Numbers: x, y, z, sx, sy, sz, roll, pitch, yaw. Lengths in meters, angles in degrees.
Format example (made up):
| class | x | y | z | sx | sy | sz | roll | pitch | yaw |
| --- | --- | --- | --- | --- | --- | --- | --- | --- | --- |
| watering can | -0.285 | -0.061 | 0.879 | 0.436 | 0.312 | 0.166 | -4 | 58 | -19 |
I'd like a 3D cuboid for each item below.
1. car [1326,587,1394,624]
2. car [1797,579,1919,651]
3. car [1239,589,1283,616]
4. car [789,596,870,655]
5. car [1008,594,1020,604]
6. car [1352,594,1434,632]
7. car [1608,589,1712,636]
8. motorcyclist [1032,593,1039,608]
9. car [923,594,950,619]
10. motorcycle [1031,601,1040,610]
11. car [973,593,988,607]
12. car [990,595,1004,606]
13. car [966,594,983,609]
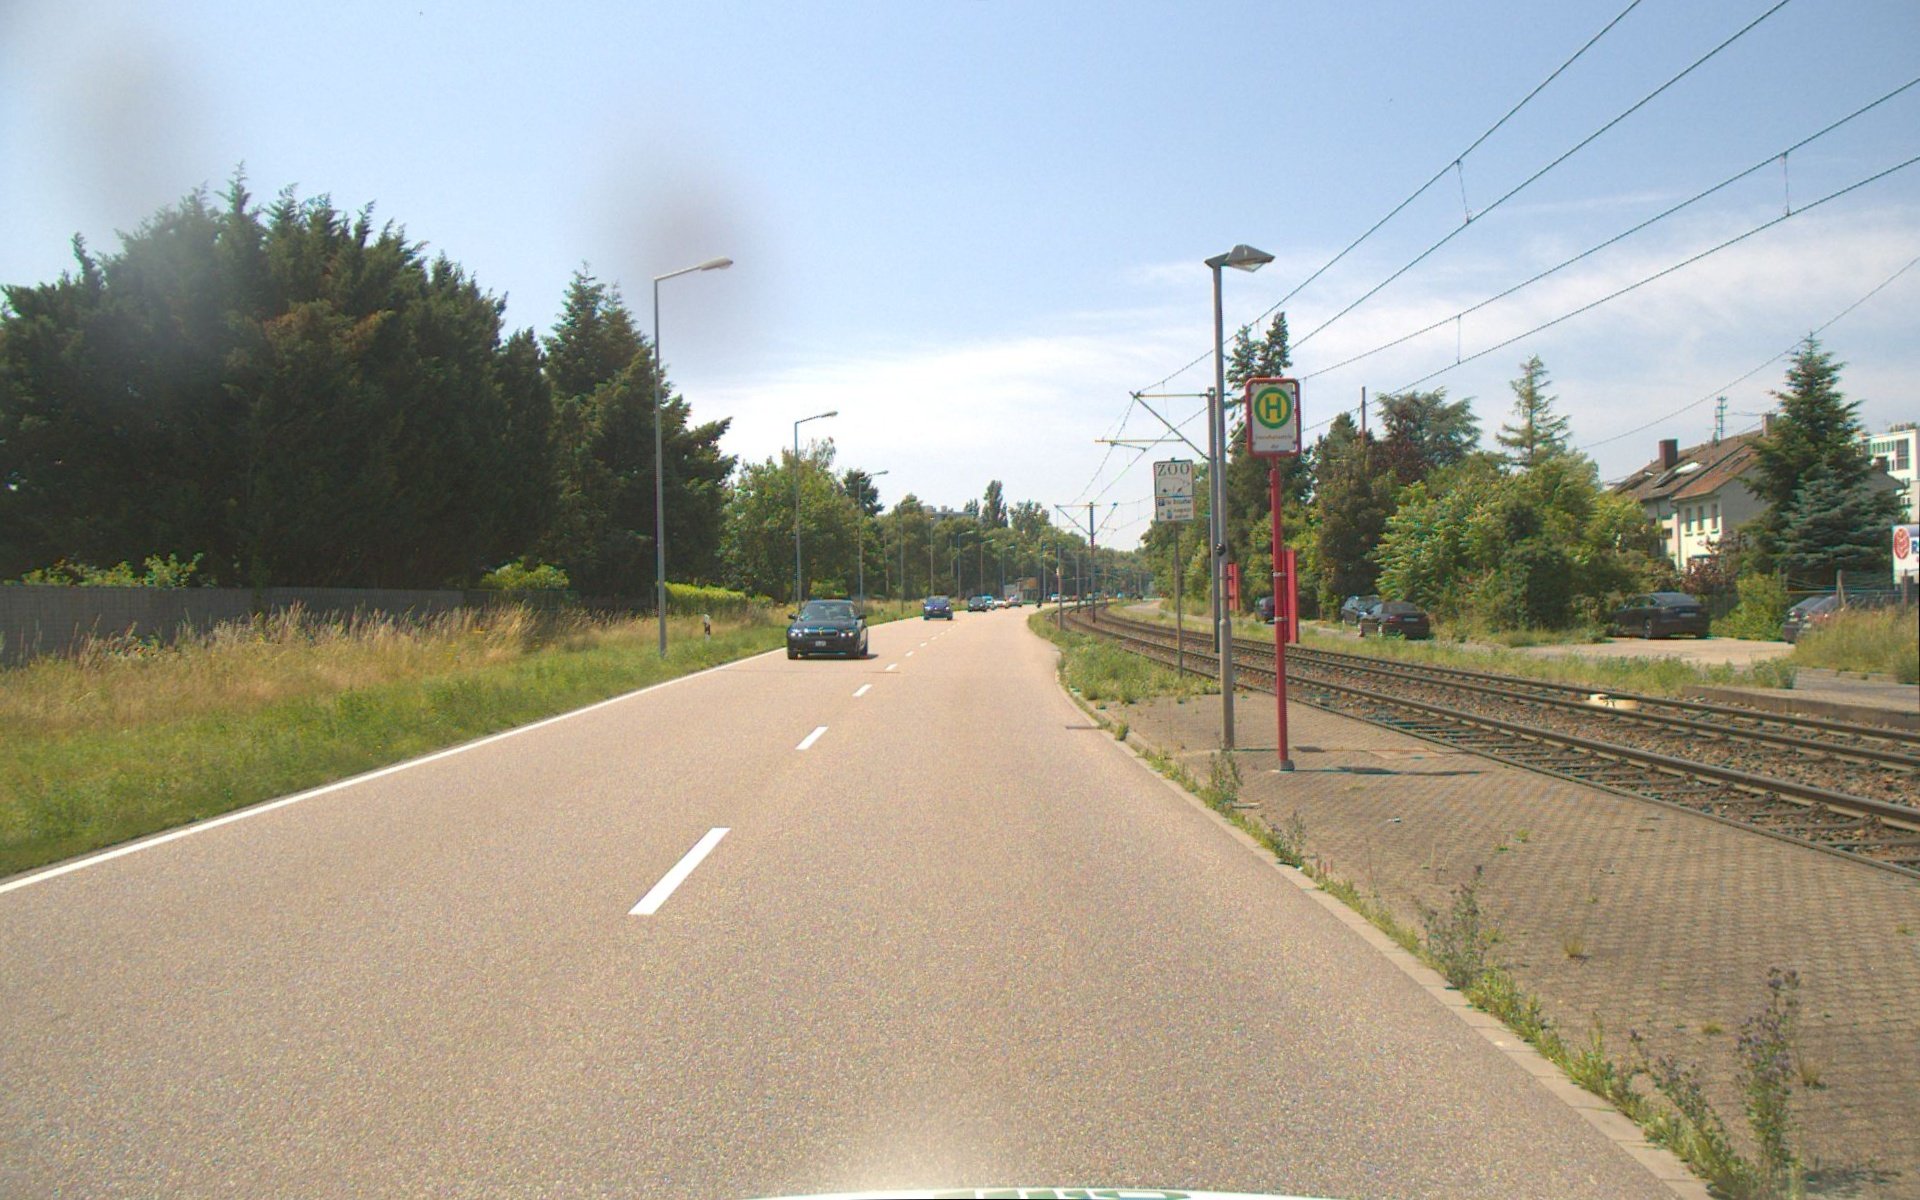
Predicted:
| class | x | y | z | sx | sy | sz | roll | pitch | yaw |
| --- | --- | --- | --- | --- | --- | --- | --- | --- | --- |
| car | 18.126 | 0.246 | 75.135 | 1.895 | 1.588 | 4.555 | 0 | 0 | -1 |
| car | 20.990 | 0.325 | 36.710 | 3.902 | 1.544 | 1.900 | 0 | 0 | 6 |
| car | 17.176 | 0.129 | 94.538 | 1.874 | 1.496 | 4.001 | 0 | 0 | 2 |
| car | -3.283 | 0.627 | 42.423 | 1.671 | 1.429 | 4.707 | 0 | 0 | 0 |
| car | 7.371 | -0.105 | 225.410 | 1.712 | 1.324 | 4.254 | 0 | 0 | 2 |
| car | 16.063 | 0.473 | 61.535 | 1.823 | 1.353 | 4.514 | 0 | 0 | -1 |
| car | 22.215 | 0.385 | 52.597 | 1.685 | 1.444 | 3.739 | 0 | 0 | -1 |
| motorcyclist | 9.934 | 0.110 | 217.660 | 0.872 | 1.938 | 1.016 | 0 | 0 | 6 |
| car | -1.556 | 0.432 | 112.206 | 1.711 | 1.660 | 4.030 | 0 | 0 | 1 |
| motorcycle | 9.964 | 0.742 | 217.950 | 0.949 | 1.137 | 2.734 | 0 | 0 | 6 |
| car | 2.326 | 0.031 | 186.983 | 1.710 | 1.529 | 3.708 | 0 | 0 | 2 |
| car | 4.650 | 0.043 | 206.714 | 1.647 | 1.271 | 3.910 | 0 | 0 | 2 |
| car | 1.521 | 0.104 | 170.308 | 1.665 | 1.517 | 4.441 | 0 | 0 | 2 |
